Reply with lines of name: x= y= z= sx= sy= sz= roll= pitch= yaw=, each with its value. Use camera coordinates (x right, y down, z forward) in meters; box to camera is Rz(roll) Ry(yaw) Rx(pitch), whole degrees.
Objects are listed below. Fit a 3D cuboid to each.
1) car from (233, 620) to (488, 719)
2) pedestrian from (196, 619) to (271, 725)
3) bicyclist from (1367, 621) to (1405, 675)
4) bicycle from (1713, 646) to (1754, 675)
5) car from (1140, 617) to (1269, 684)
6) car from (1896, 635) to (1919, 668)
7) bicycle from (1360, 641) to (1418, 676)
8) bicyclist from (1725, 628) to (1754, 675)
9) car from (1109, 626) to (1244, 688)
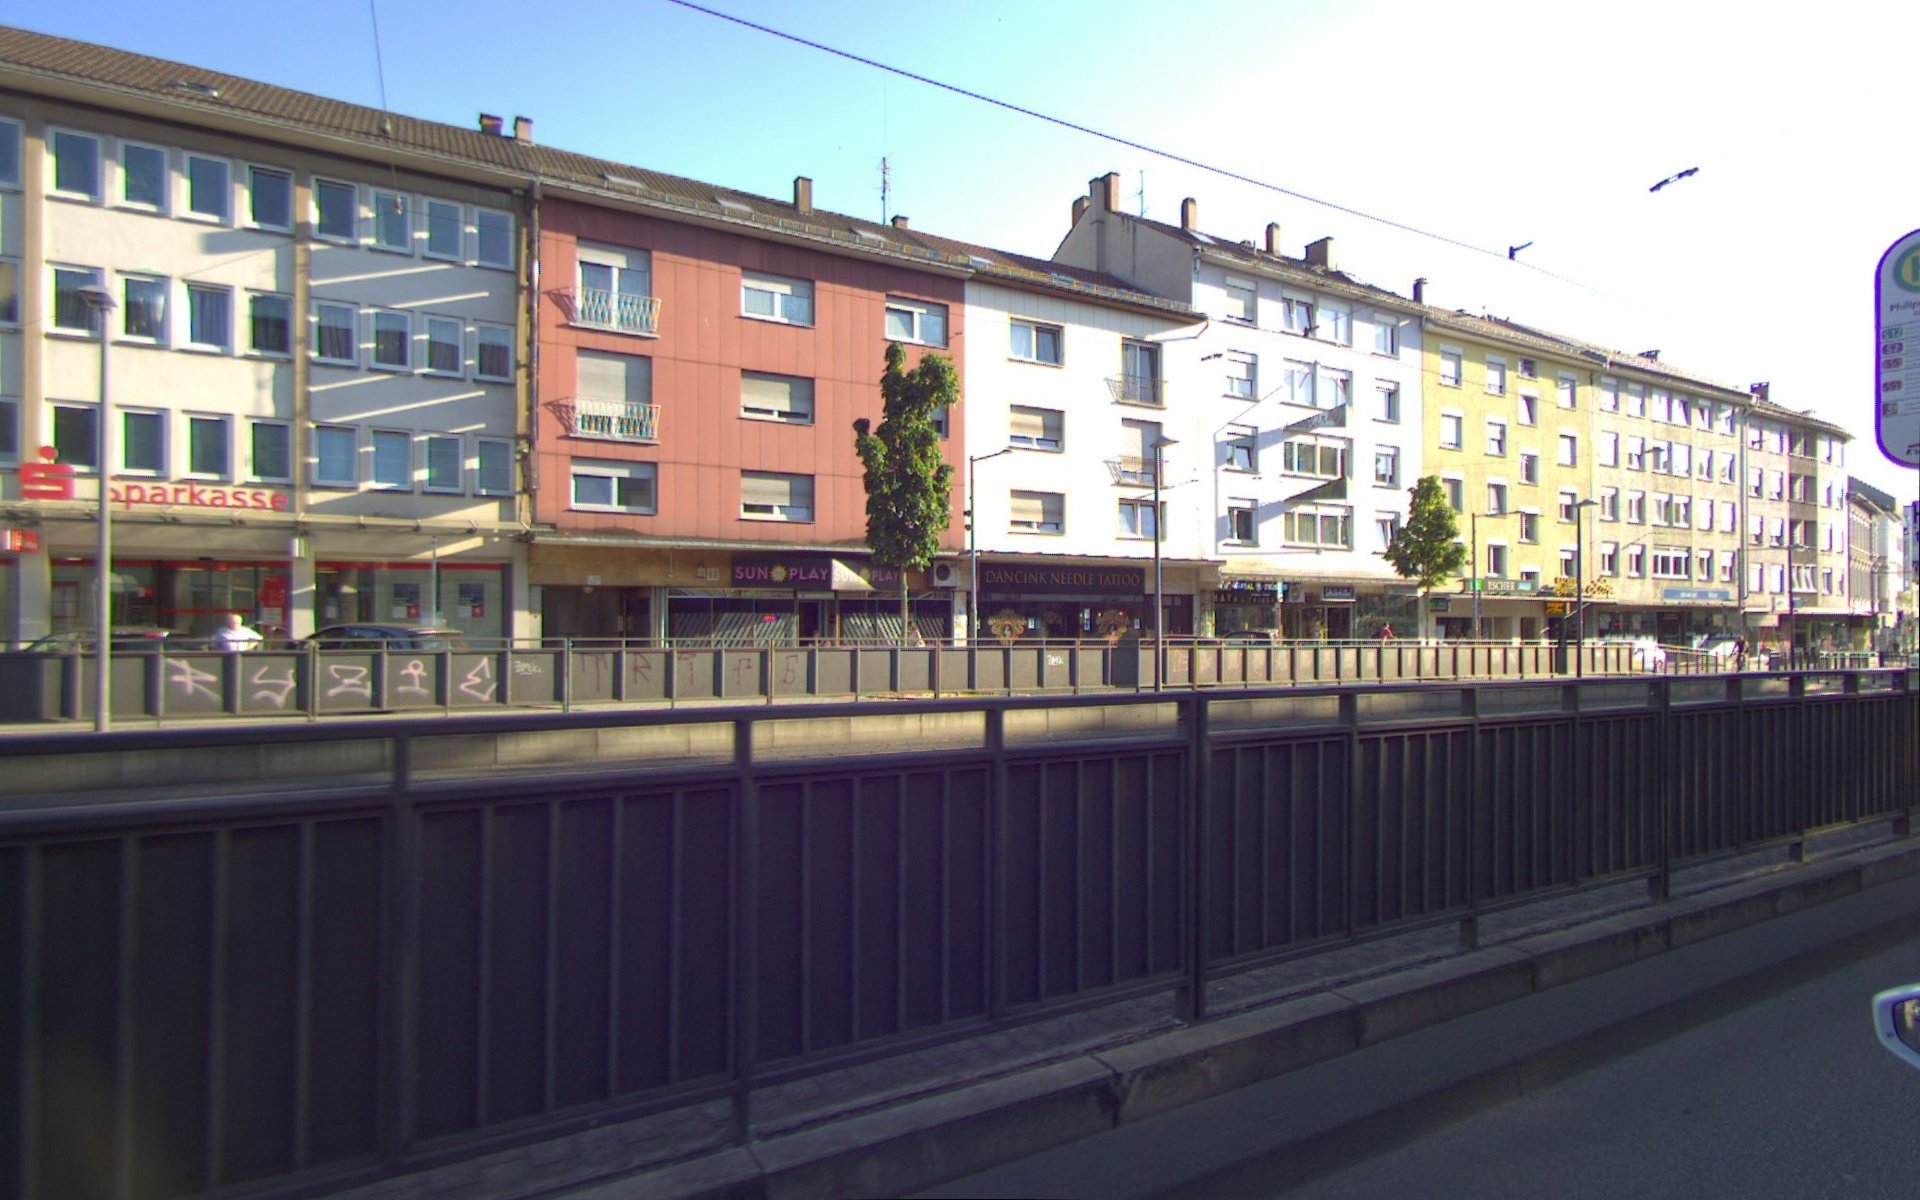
car: x=-11.236 y=1.237 z=18.916 sx=3.919 sy=1.550 sz=1.871 roll=2 pitch=0 yaw=15
pedestrian: x=-12.953 y=1.256 z=17.927 sx=0.710 sy=1.812 sz=0.769 roll=2 pitch=0 yaw=17
bicyclist: x=15.727 y=1.765 z=37.078 sx=1.043 sy=1.912 sz=0.690 roll=1 pitch=3 yaw=-25
bicycle: x=34.475 y=2.686 z=44.759 sx=2.253 sy=1.246 sz=0.714 roll=1 pitch=-2 yaw=-32
car: x=7.664 y=1.565 z=31.800 sx=3.693 sy=1.823 sz=1.865 roll=3 pitch=1 yaw=8
car: x=52.946 y=2.774 z=54.657 sx=4.388 sy=1.739 sz=1.982 roll=1 pitch=-2 yaw=-33
bicycle: x=15.894 y=2.149 z=37.184 sx=2.169 sy=1.175 sz=0.703 roll=1 pitch=3 yaw=-26
bicyclist: x=34.932 y=2.296 z=45.020 sx=0.901 sy=2.040 sz=0.760 roll=1 pitch=-2 yaw=-32
car: x=6.292 y=1.639 z=29.534 sx=3.693 sy=1.511 sz=1.865 roll=3 pitch=1 yaw=8
